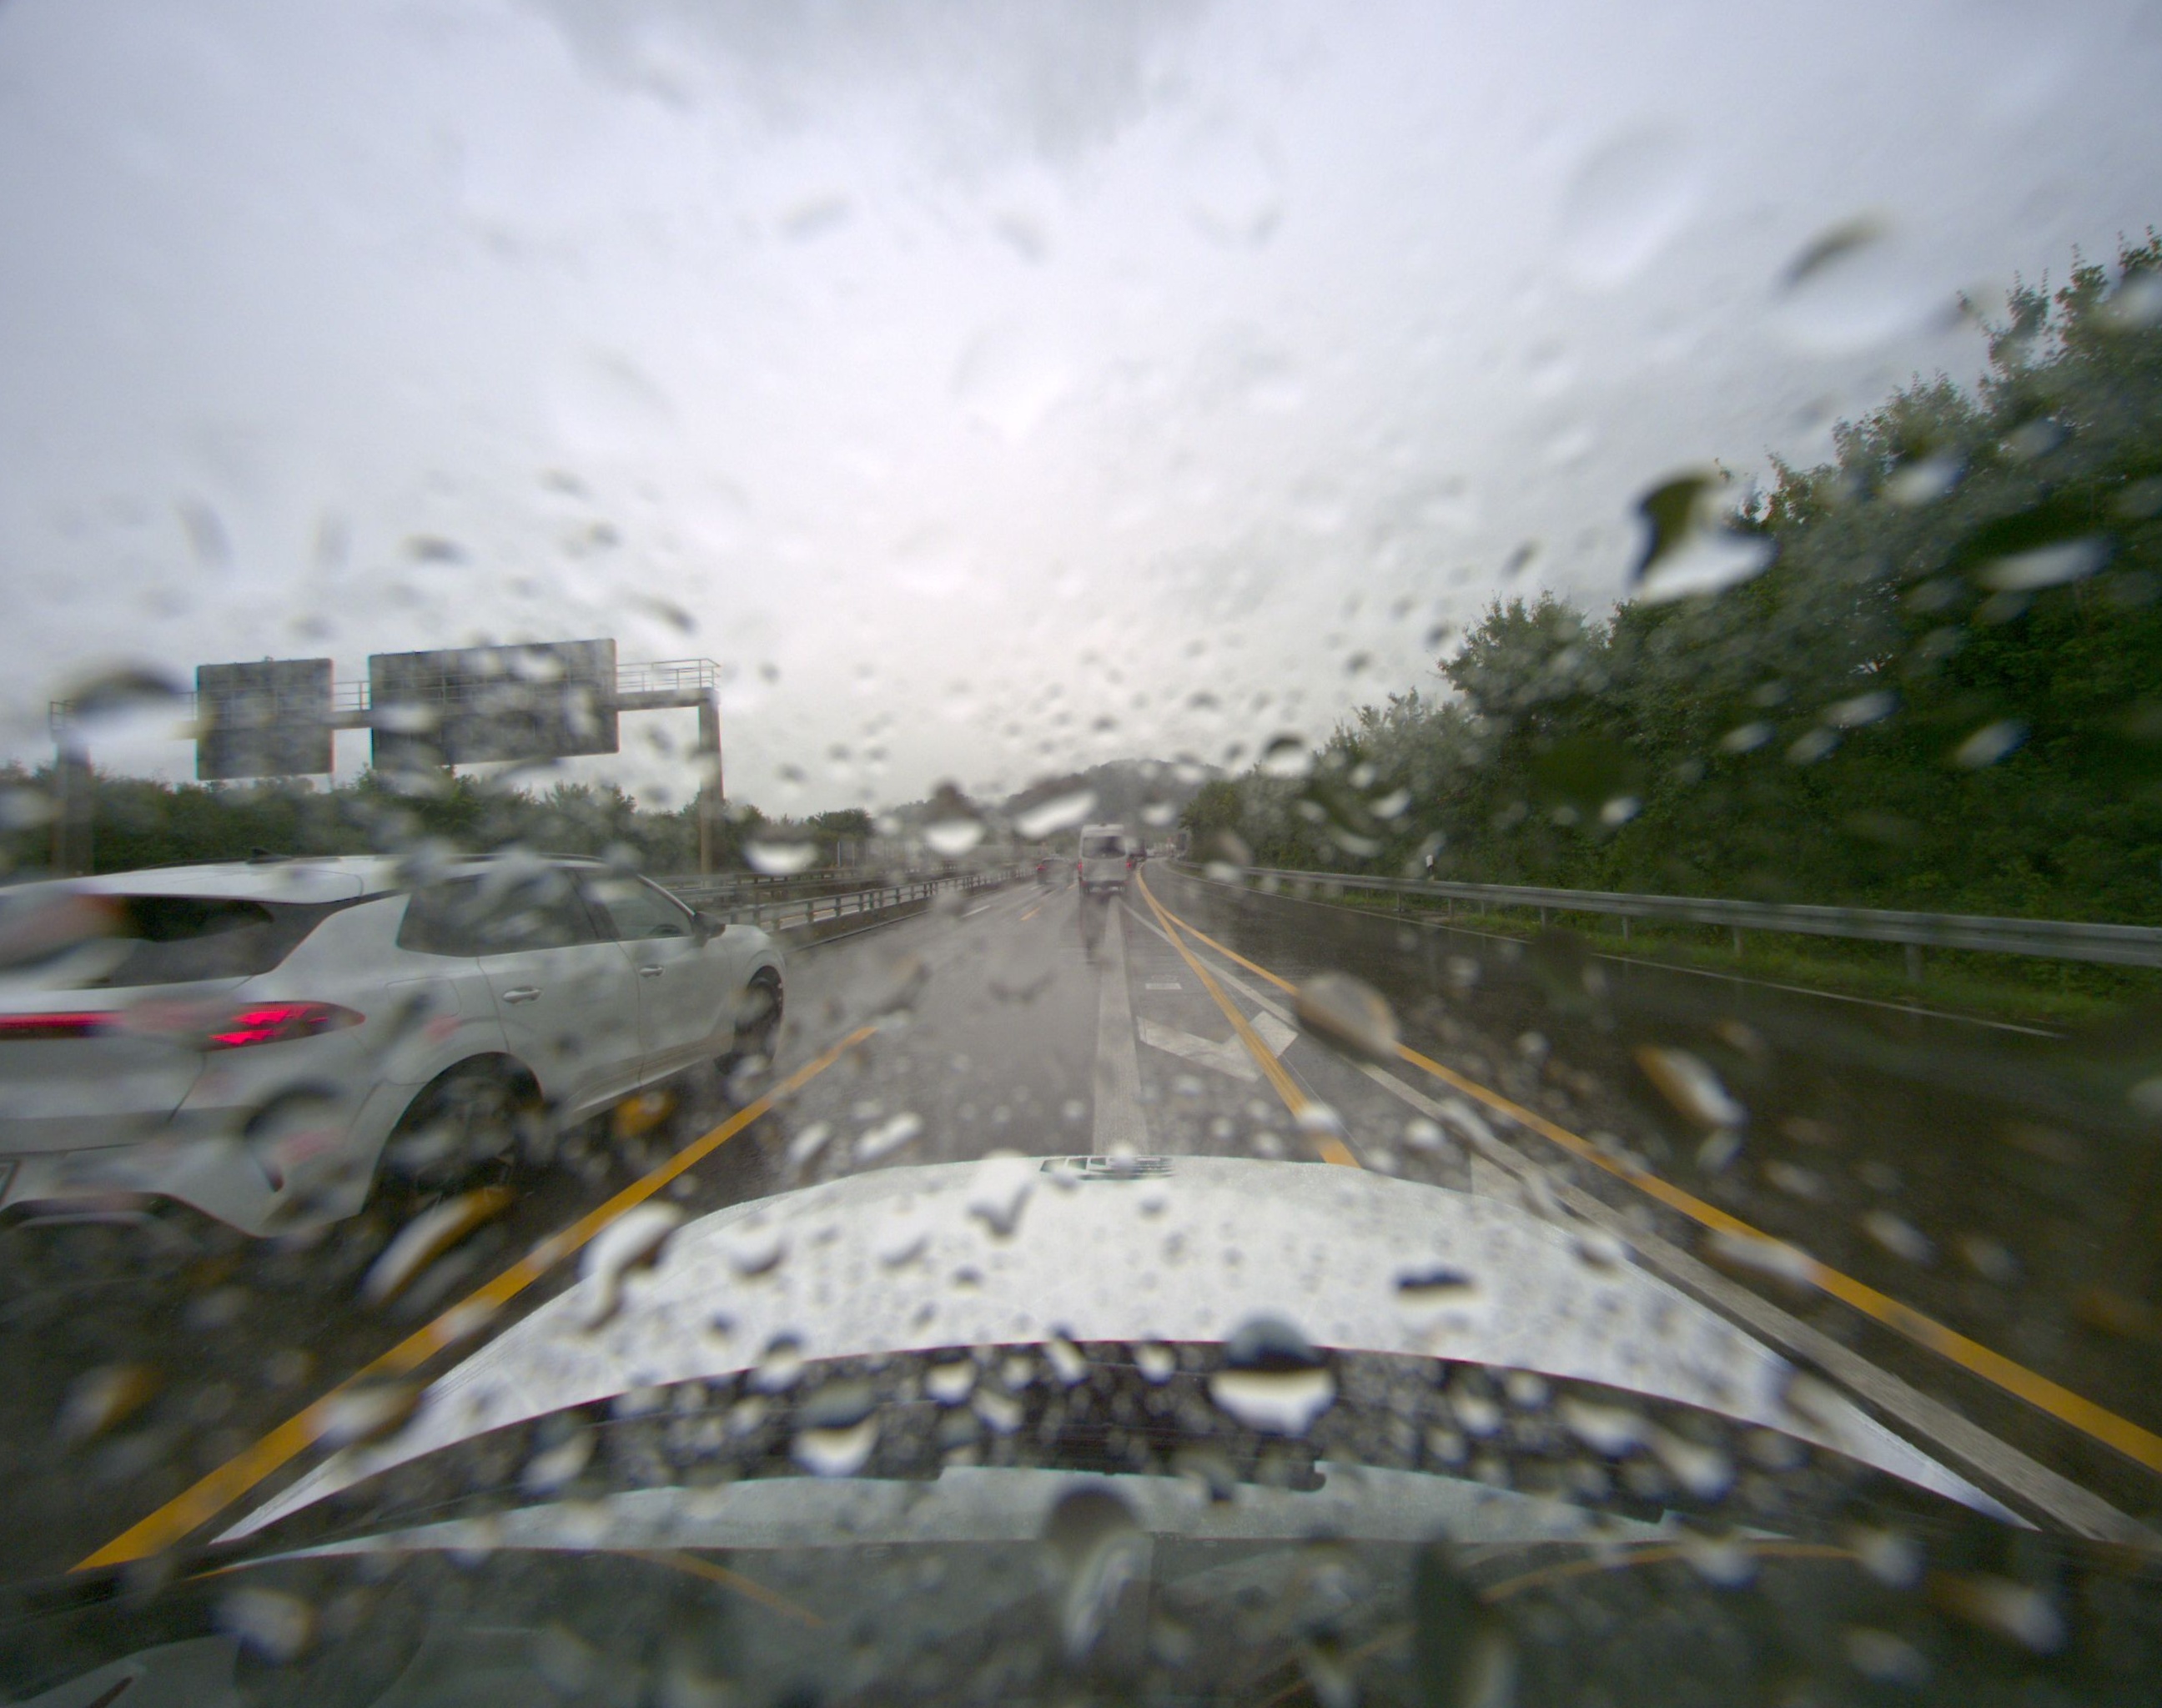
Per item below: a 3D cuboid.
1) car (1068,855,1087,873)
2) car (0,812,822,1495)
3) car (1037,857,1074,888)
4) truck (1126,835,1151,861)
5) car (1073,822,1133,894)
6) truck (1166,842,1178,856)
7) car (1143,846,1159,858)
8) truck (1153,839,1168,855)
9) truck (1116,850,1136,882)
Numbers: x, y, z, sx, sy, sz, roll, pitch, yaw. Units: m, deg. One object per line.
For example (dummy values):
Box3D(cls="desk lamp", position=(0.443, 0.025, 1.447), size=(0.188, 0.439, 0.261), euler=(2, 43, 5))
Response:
Box3D(cls="car", position=(-0.289, 0.974, 78.512), size=(1.701, 1.627, 4.000), euler=(-1, 0, 1))
Box3D(cls="car", position=(-3.222, 0.732, 4.349), size=(1.986, 1.617, 4.798), euler=(-1, 0, 2))
Box3D(cls="car", position=(-1.393, 0.979, 44.684), size=(1.941, 1.561, 3.997), euler=(-1, 0, -2))
Box3D(cls="truck", position=(10.090, -0.984, 140.919), size=(3.561, 4.406, 9.645), euler=(-1, 0, 8))
Box3D(cls="car", position=(0.922, 0.159, 32.131), size=(2.136, 2.571, 5.393), euler=(-1, 0, 3))
Box3D(cls="truck", position=(29.027, -1.557, 259.223), size=(2.878, 4.406, 9.658), euler=(-1, 0, 13))
Box3D(cls="car", position=(16.256, -0.446, 188.543), size=(2.880, 2.887, 6.430), euler=(-1, 0, 11))
Box3D(cls="truck", position=(22.179, -1.940, 225.746), size=(3.016, 4.406, 9.655), euler=(-1, 0, 12))
Box3D(cls="truck", position=(4.745, 1.227, 86.102), size=(1.985, 3.109, 8.505), euler=(-1, 0, 3))
